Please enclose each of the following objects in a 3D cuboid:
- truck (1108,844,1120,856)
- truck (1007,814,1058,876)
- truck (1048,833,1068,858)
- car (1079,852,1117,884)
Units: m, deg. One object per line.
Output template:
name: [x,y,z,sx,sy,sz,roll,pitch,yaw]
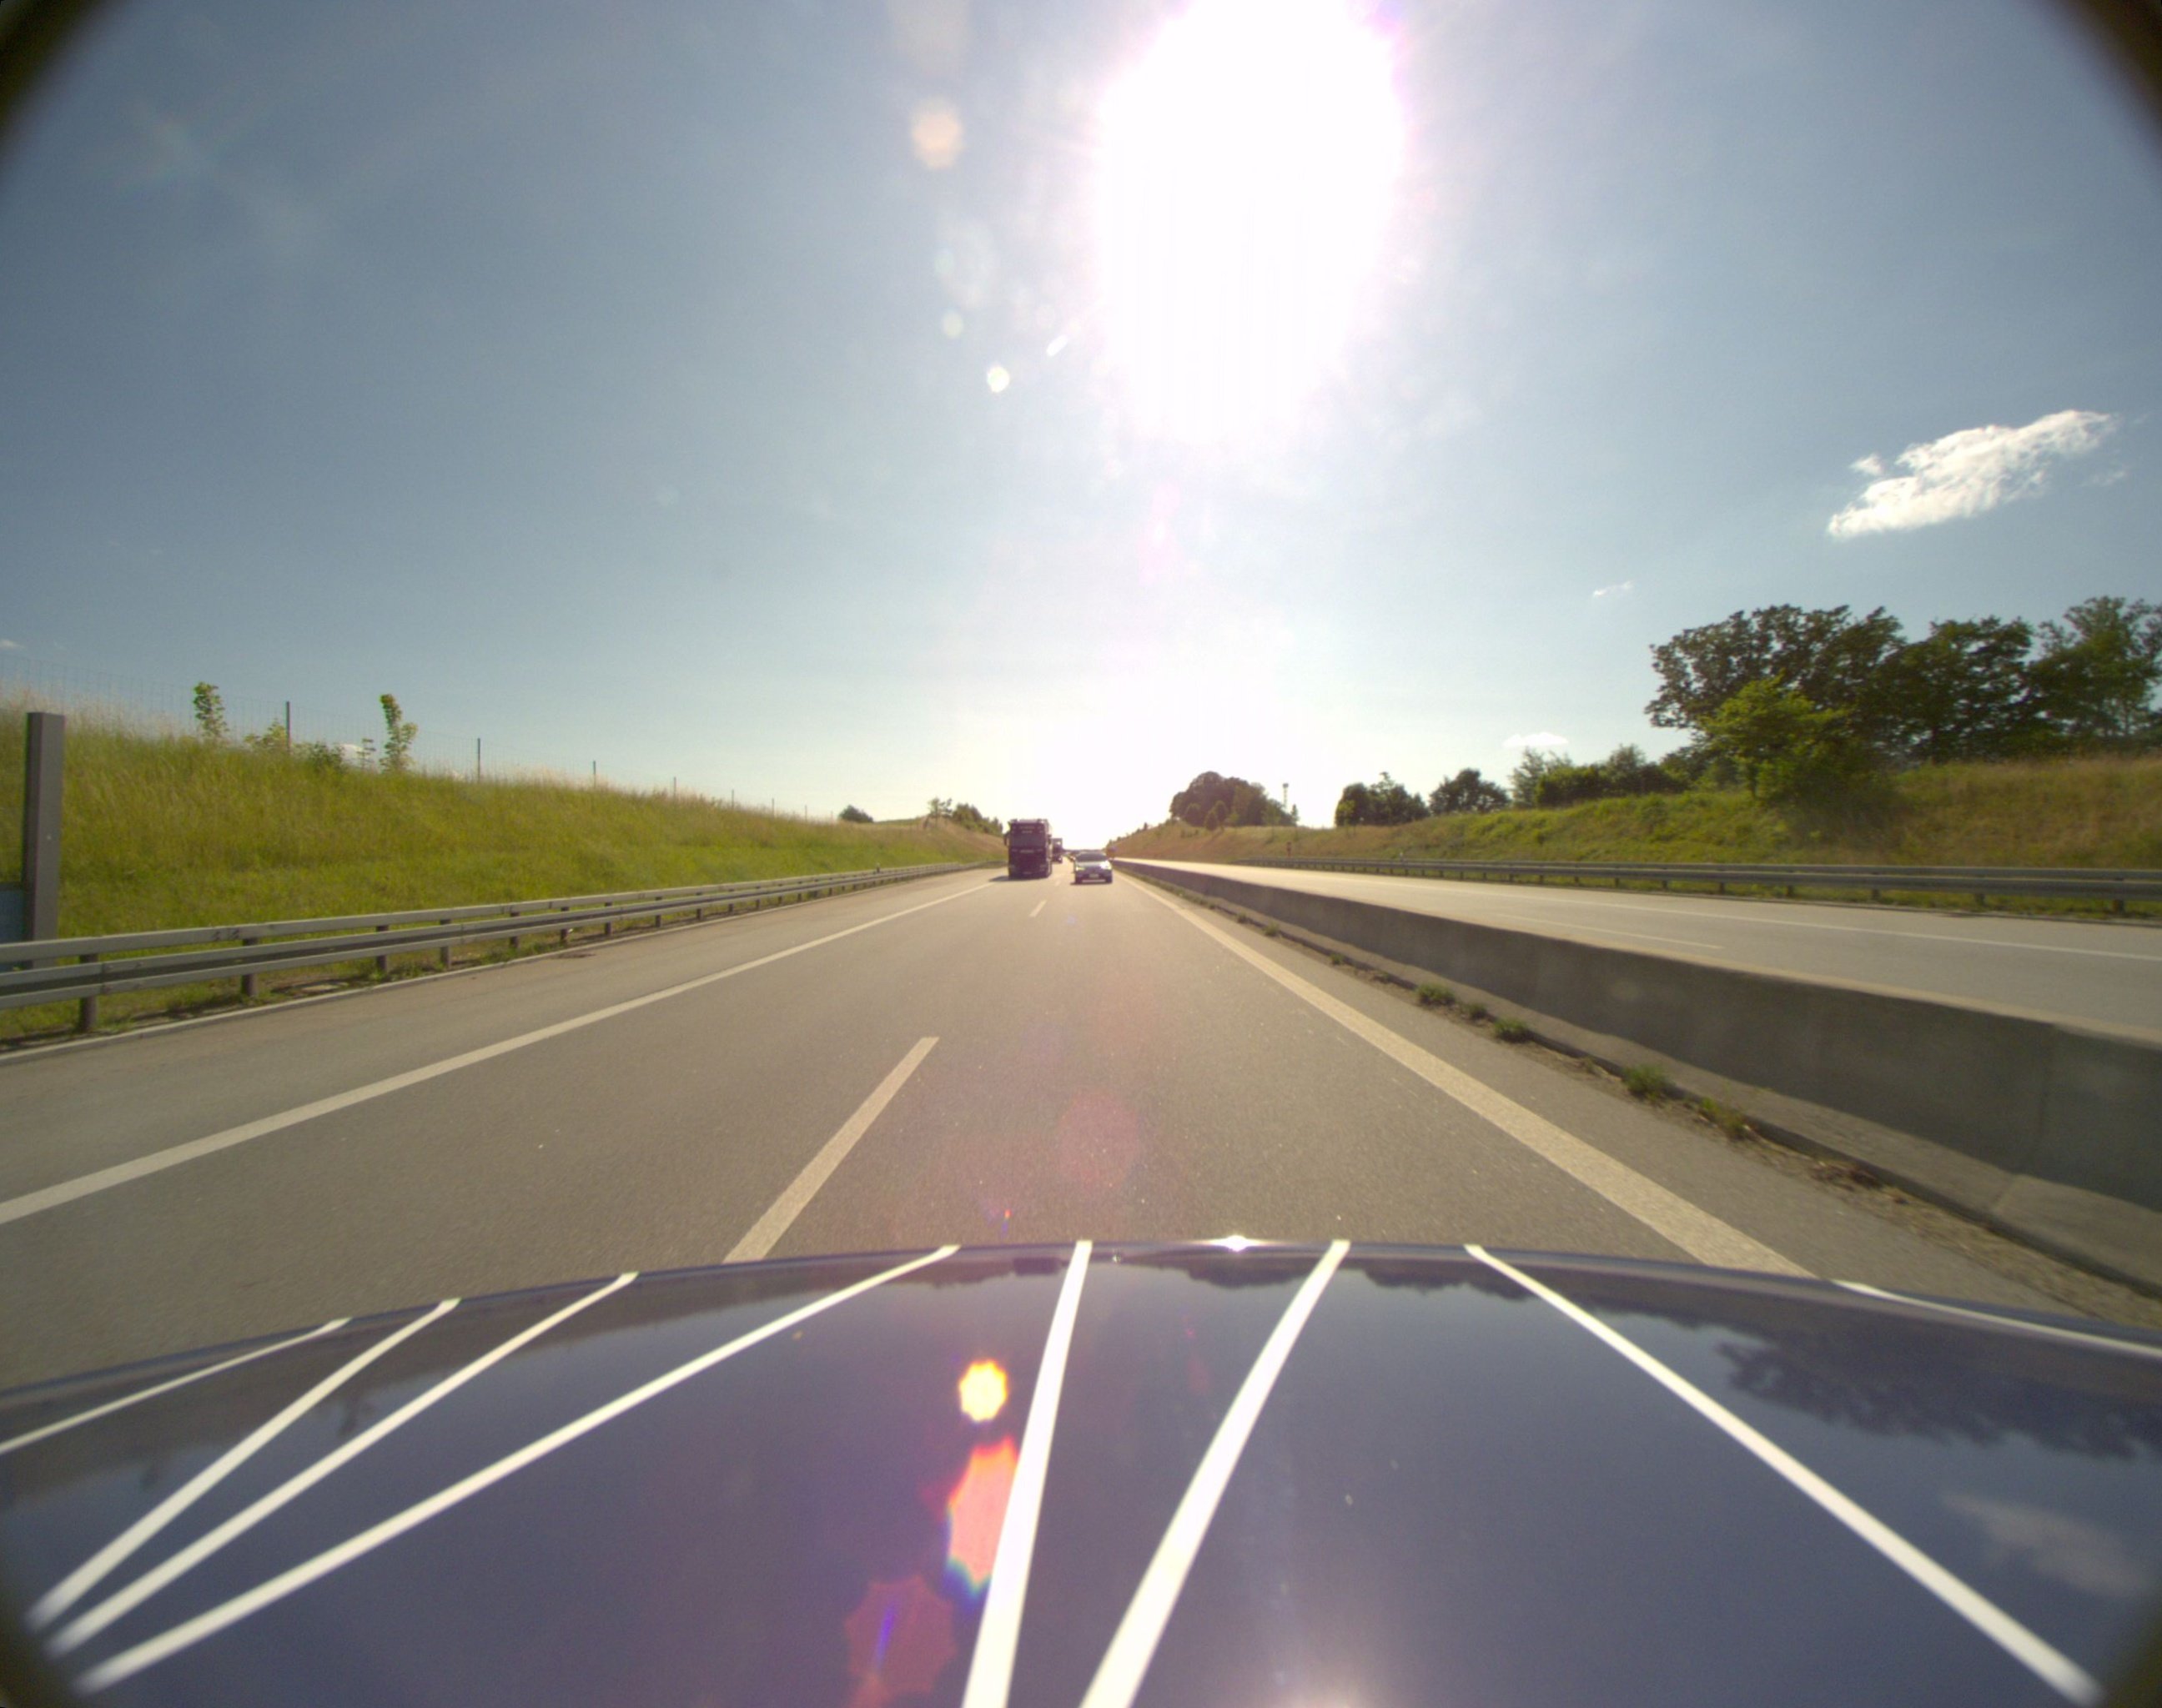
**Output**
truck: [8.750,-1.151,202.807,2.781,3.004,6.791,-2,1,-1]
truck: [-3.188,-0.585,53.636,2.623,3.795,13.401,-1,0,0]
truck: [-3.704,-1.287,122.291,3.026,3.795,13.399,1,0,-2]
car: [0.873,0.659,38.258,1.795,1.501,3.635,-1,1,2]
